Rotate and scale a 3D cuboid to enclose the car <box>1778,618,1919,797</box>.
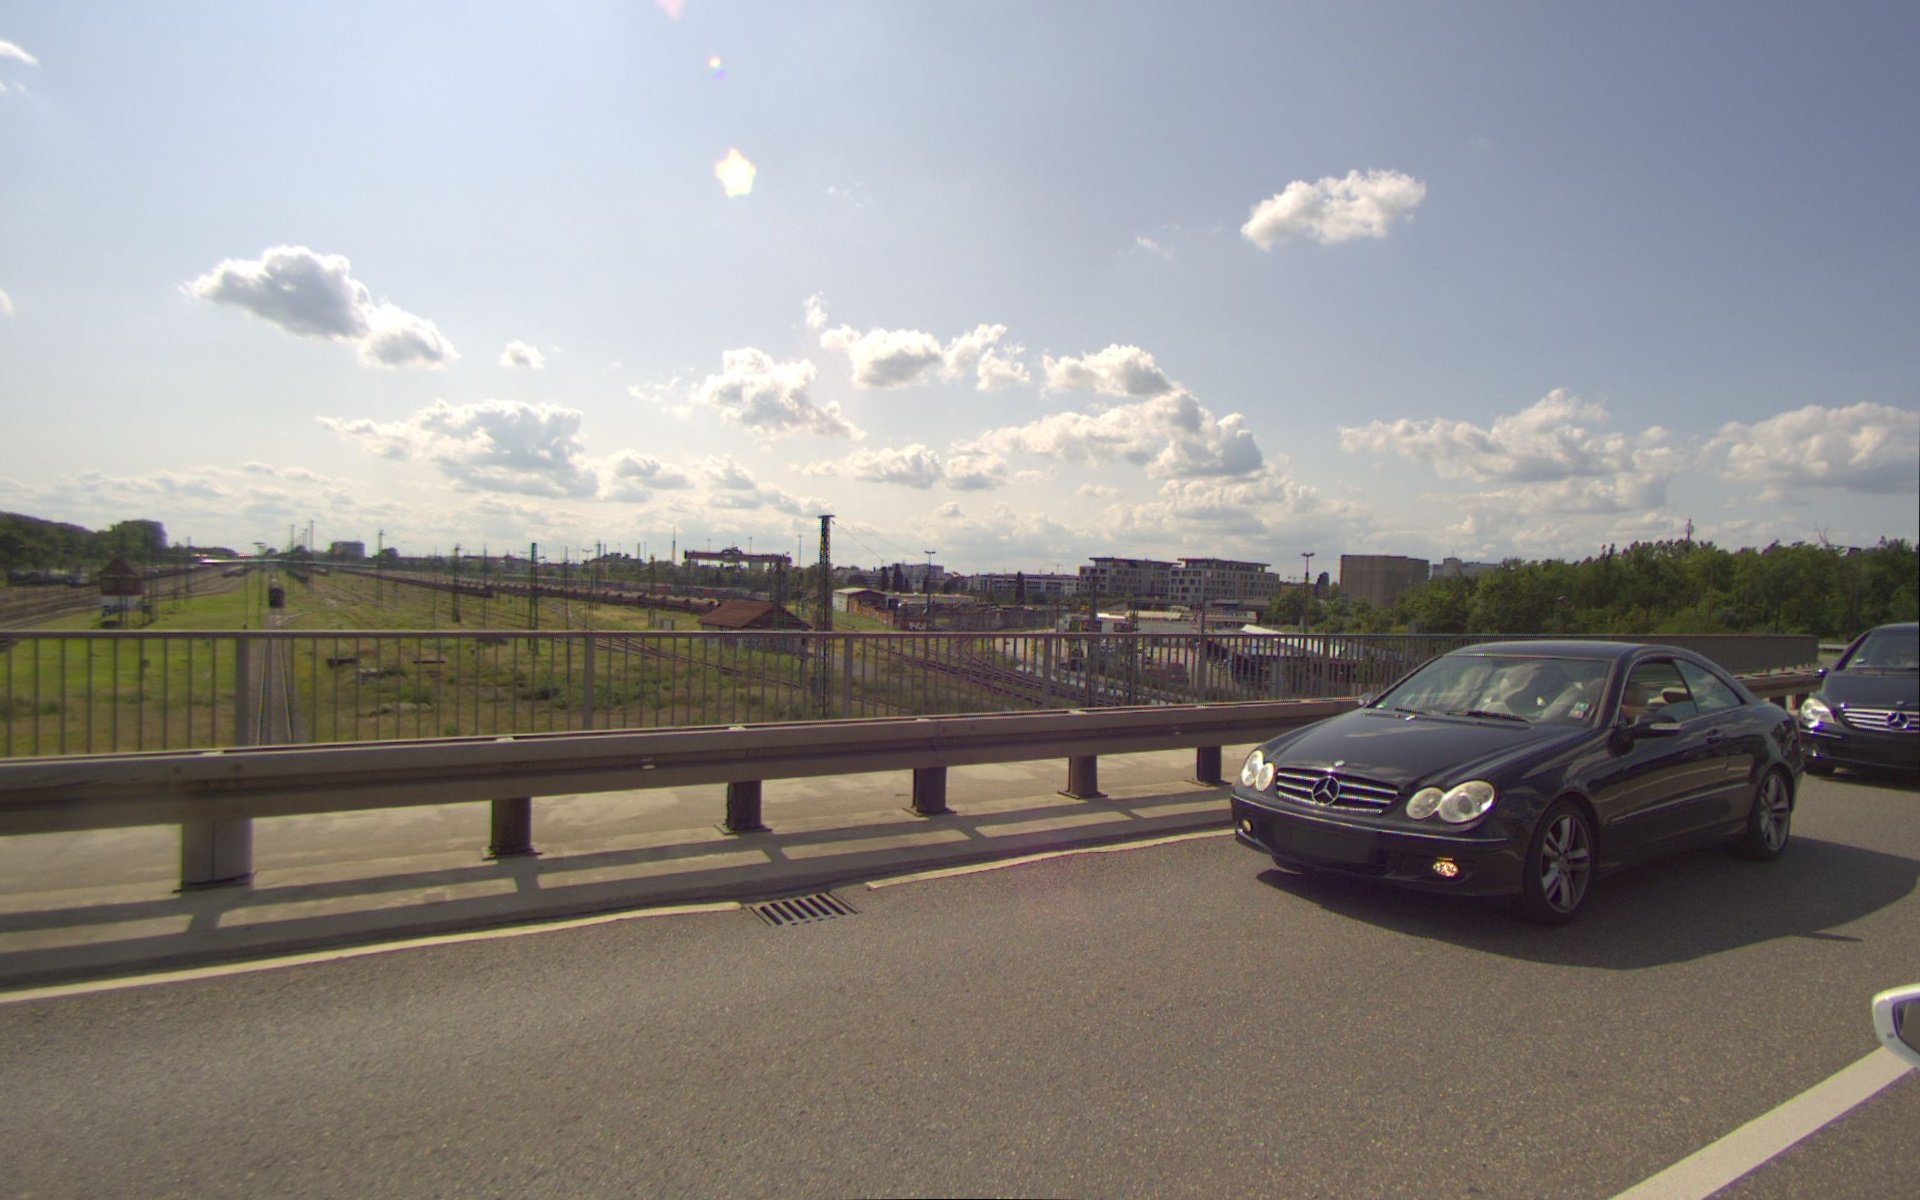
[{"bbox_3d":[10.307,1.026,10.510,4.241,1.617,1.672,2,-2,-36],"label":"car"}]

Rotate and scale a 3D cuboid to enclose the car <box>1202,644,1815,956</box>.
[{"bbox_3d":[3.592,0.984,6.315,4.209,1.362,1.622,2,-3,-34],"label":"car"}]

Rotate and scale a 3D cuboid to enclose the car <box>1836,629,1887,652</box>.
[{"bbox_3d":[62.295,2.756,69.457,1.787,1.506,3.993,0,-1,30],"label":"car"}]
